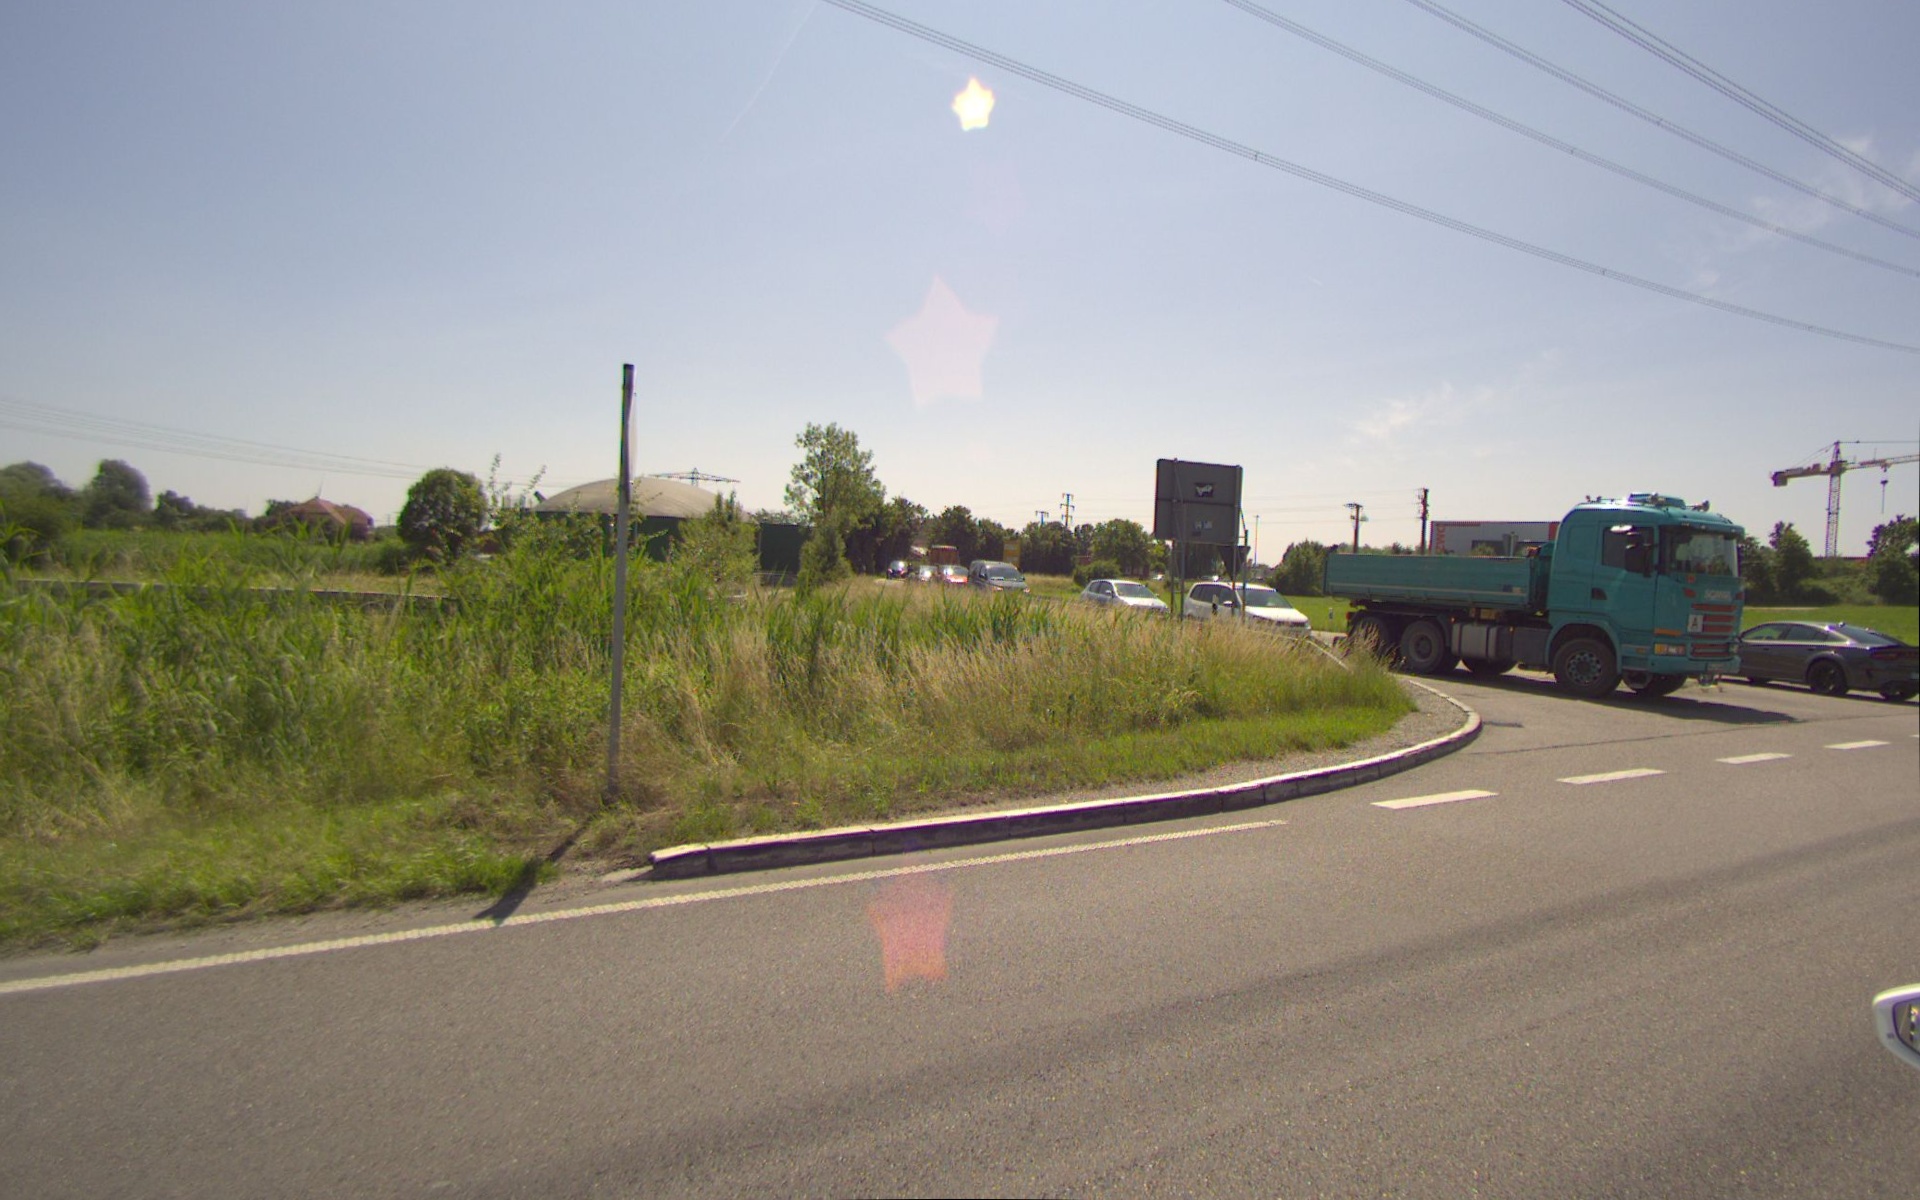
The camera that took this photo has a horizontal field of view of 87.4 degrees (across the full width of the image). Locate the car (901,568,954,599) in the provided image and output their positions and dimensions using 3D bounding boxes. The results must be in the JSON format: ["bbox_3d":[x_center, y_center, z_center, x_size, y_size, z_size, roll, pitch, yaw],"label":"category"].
[{"bbox_3d":[-1.821,-0.932,54.944,1.754,1.498,3.982,2,2,-19],"label":"car"}]

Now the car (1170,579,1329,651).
[{"bbox_3d":[7.578,0.323,26.792,1.936,1.634,4.540,2,2,-15],"label":"car"}]

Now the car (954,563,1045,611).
[{"bbox_3d":[1.583,-0.596,42.734,2.057,1.893,4.927,0,2,-21],"label":"car"}]

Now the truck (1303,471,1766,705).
[{"bbox_3d":[10.915,-0.363,20.295,2.466,3.785,7.872,2,2,-27],"label":"truck"}]

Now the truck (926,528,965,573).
[{"bbox_3d":[-1.274,-3.969,82.867,2.775,3.332,9.695,1,1,-3],"label":"truck"}]

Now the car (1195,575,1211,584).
[{"bbox_3d":[46.944,-3.954,194.122,1.964,1.701,3.992,2,1,30],"label":"car"}]

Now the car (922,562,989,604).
[{"bbox_3d":[-0.270,-0.871,49.208,1.886,1.874,4.463,2,2,-19],"label":"car"}]

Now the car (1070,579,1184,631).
[{"bbox_3d":[5.309,0.110,32.561,1.692,1.490,4.426,2,1,-19],"label":"car"}]

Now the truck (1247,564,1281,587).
[{"bbox_3d":[69.815,-5.594,230.462,3.628,4.708,13.201,3,1,34],"label":"truck"}]

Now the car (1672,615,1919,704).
[{"bbox_3d":[18.233,1.195,21.794,1.828,1.415,4.646,2,3,-8],"label":"car"}]

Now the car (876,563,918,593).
[{"bbox_3d":[-3.861,-1.304,61.380,1.965,1.691,3.990,2,0,-12],"label":"car"}]
